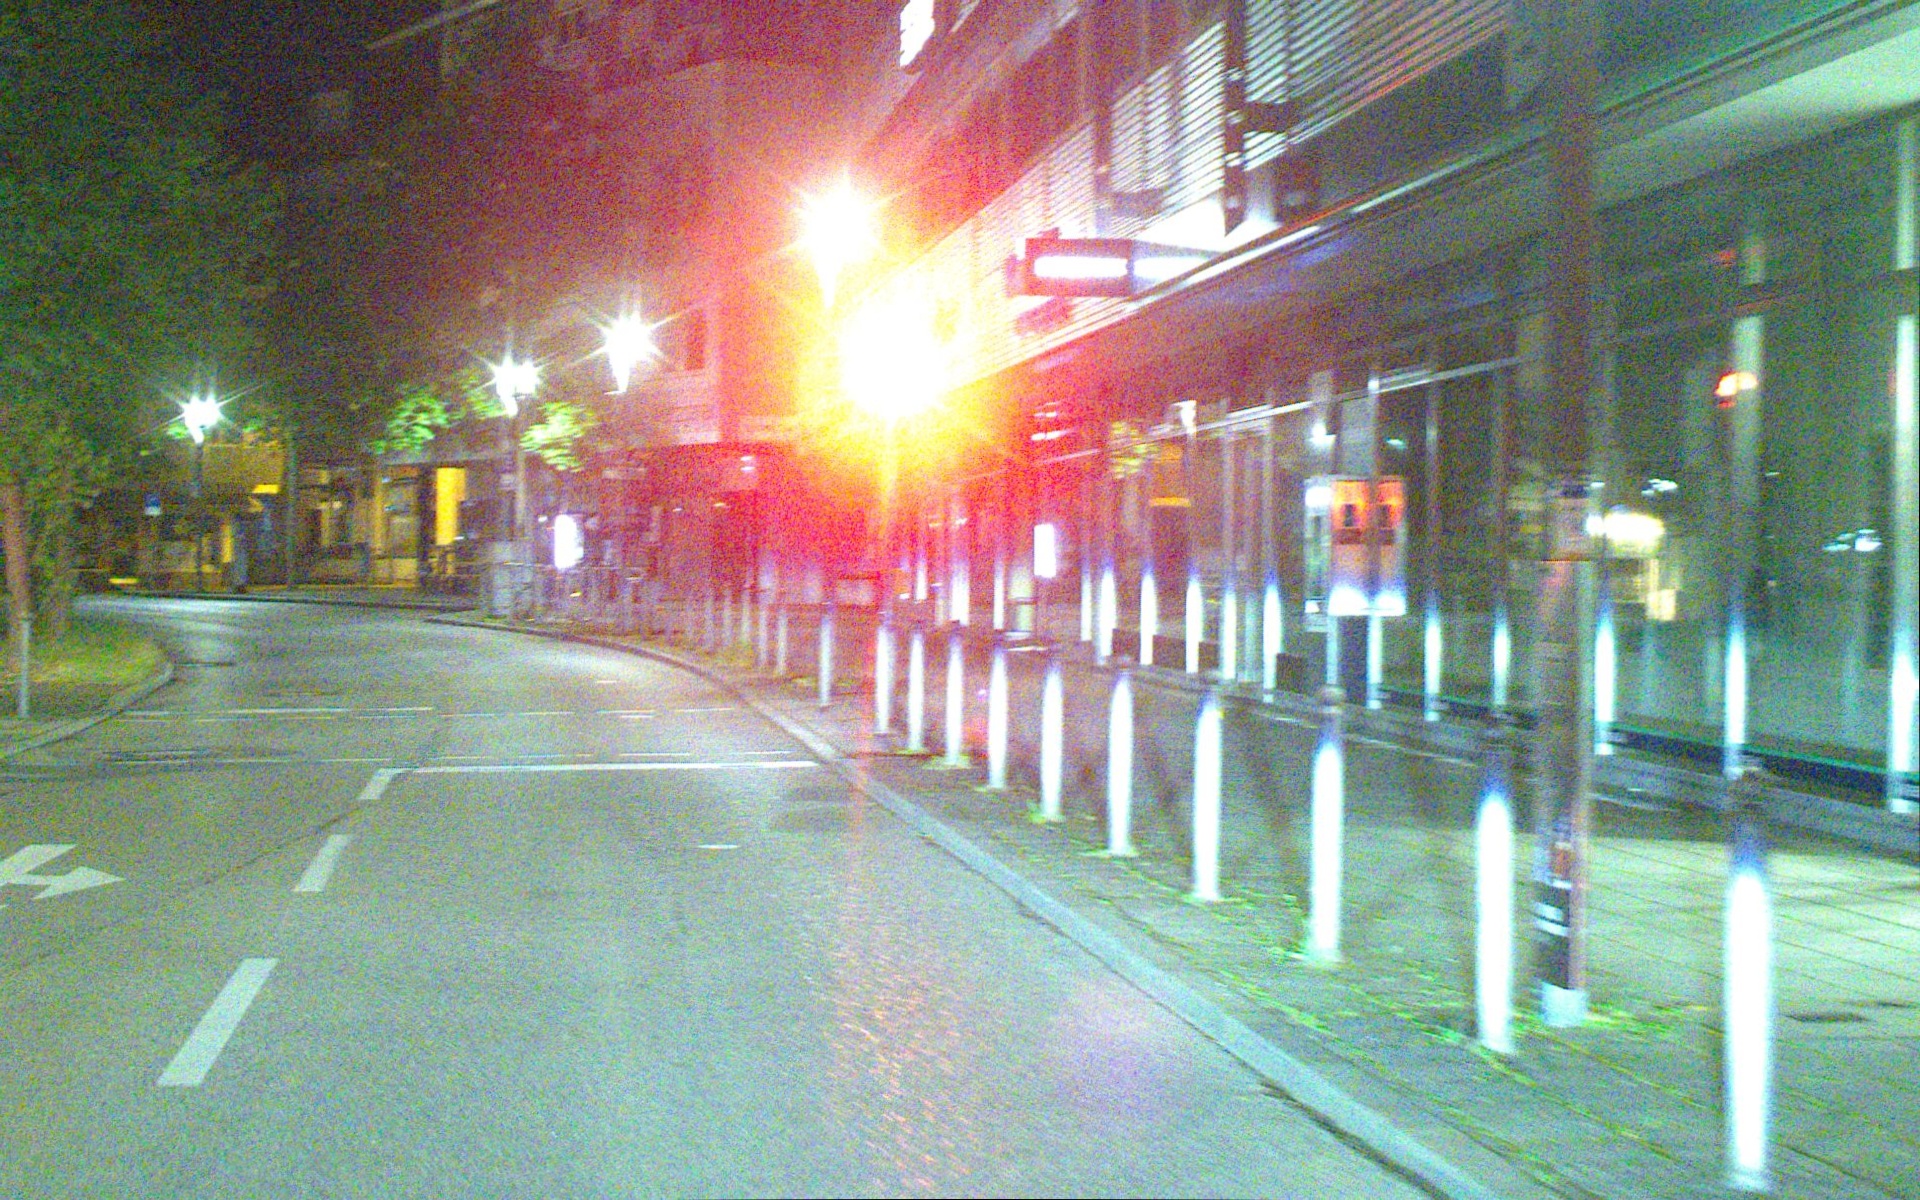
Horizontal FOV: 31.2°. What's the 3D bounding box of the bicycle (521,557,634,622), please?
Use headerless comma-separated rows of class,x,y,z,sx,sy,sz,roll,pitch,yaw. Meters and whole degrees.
bicycle,-6.369,-0.170,57.331,1.749,1.059,0.656,0,2,-31
